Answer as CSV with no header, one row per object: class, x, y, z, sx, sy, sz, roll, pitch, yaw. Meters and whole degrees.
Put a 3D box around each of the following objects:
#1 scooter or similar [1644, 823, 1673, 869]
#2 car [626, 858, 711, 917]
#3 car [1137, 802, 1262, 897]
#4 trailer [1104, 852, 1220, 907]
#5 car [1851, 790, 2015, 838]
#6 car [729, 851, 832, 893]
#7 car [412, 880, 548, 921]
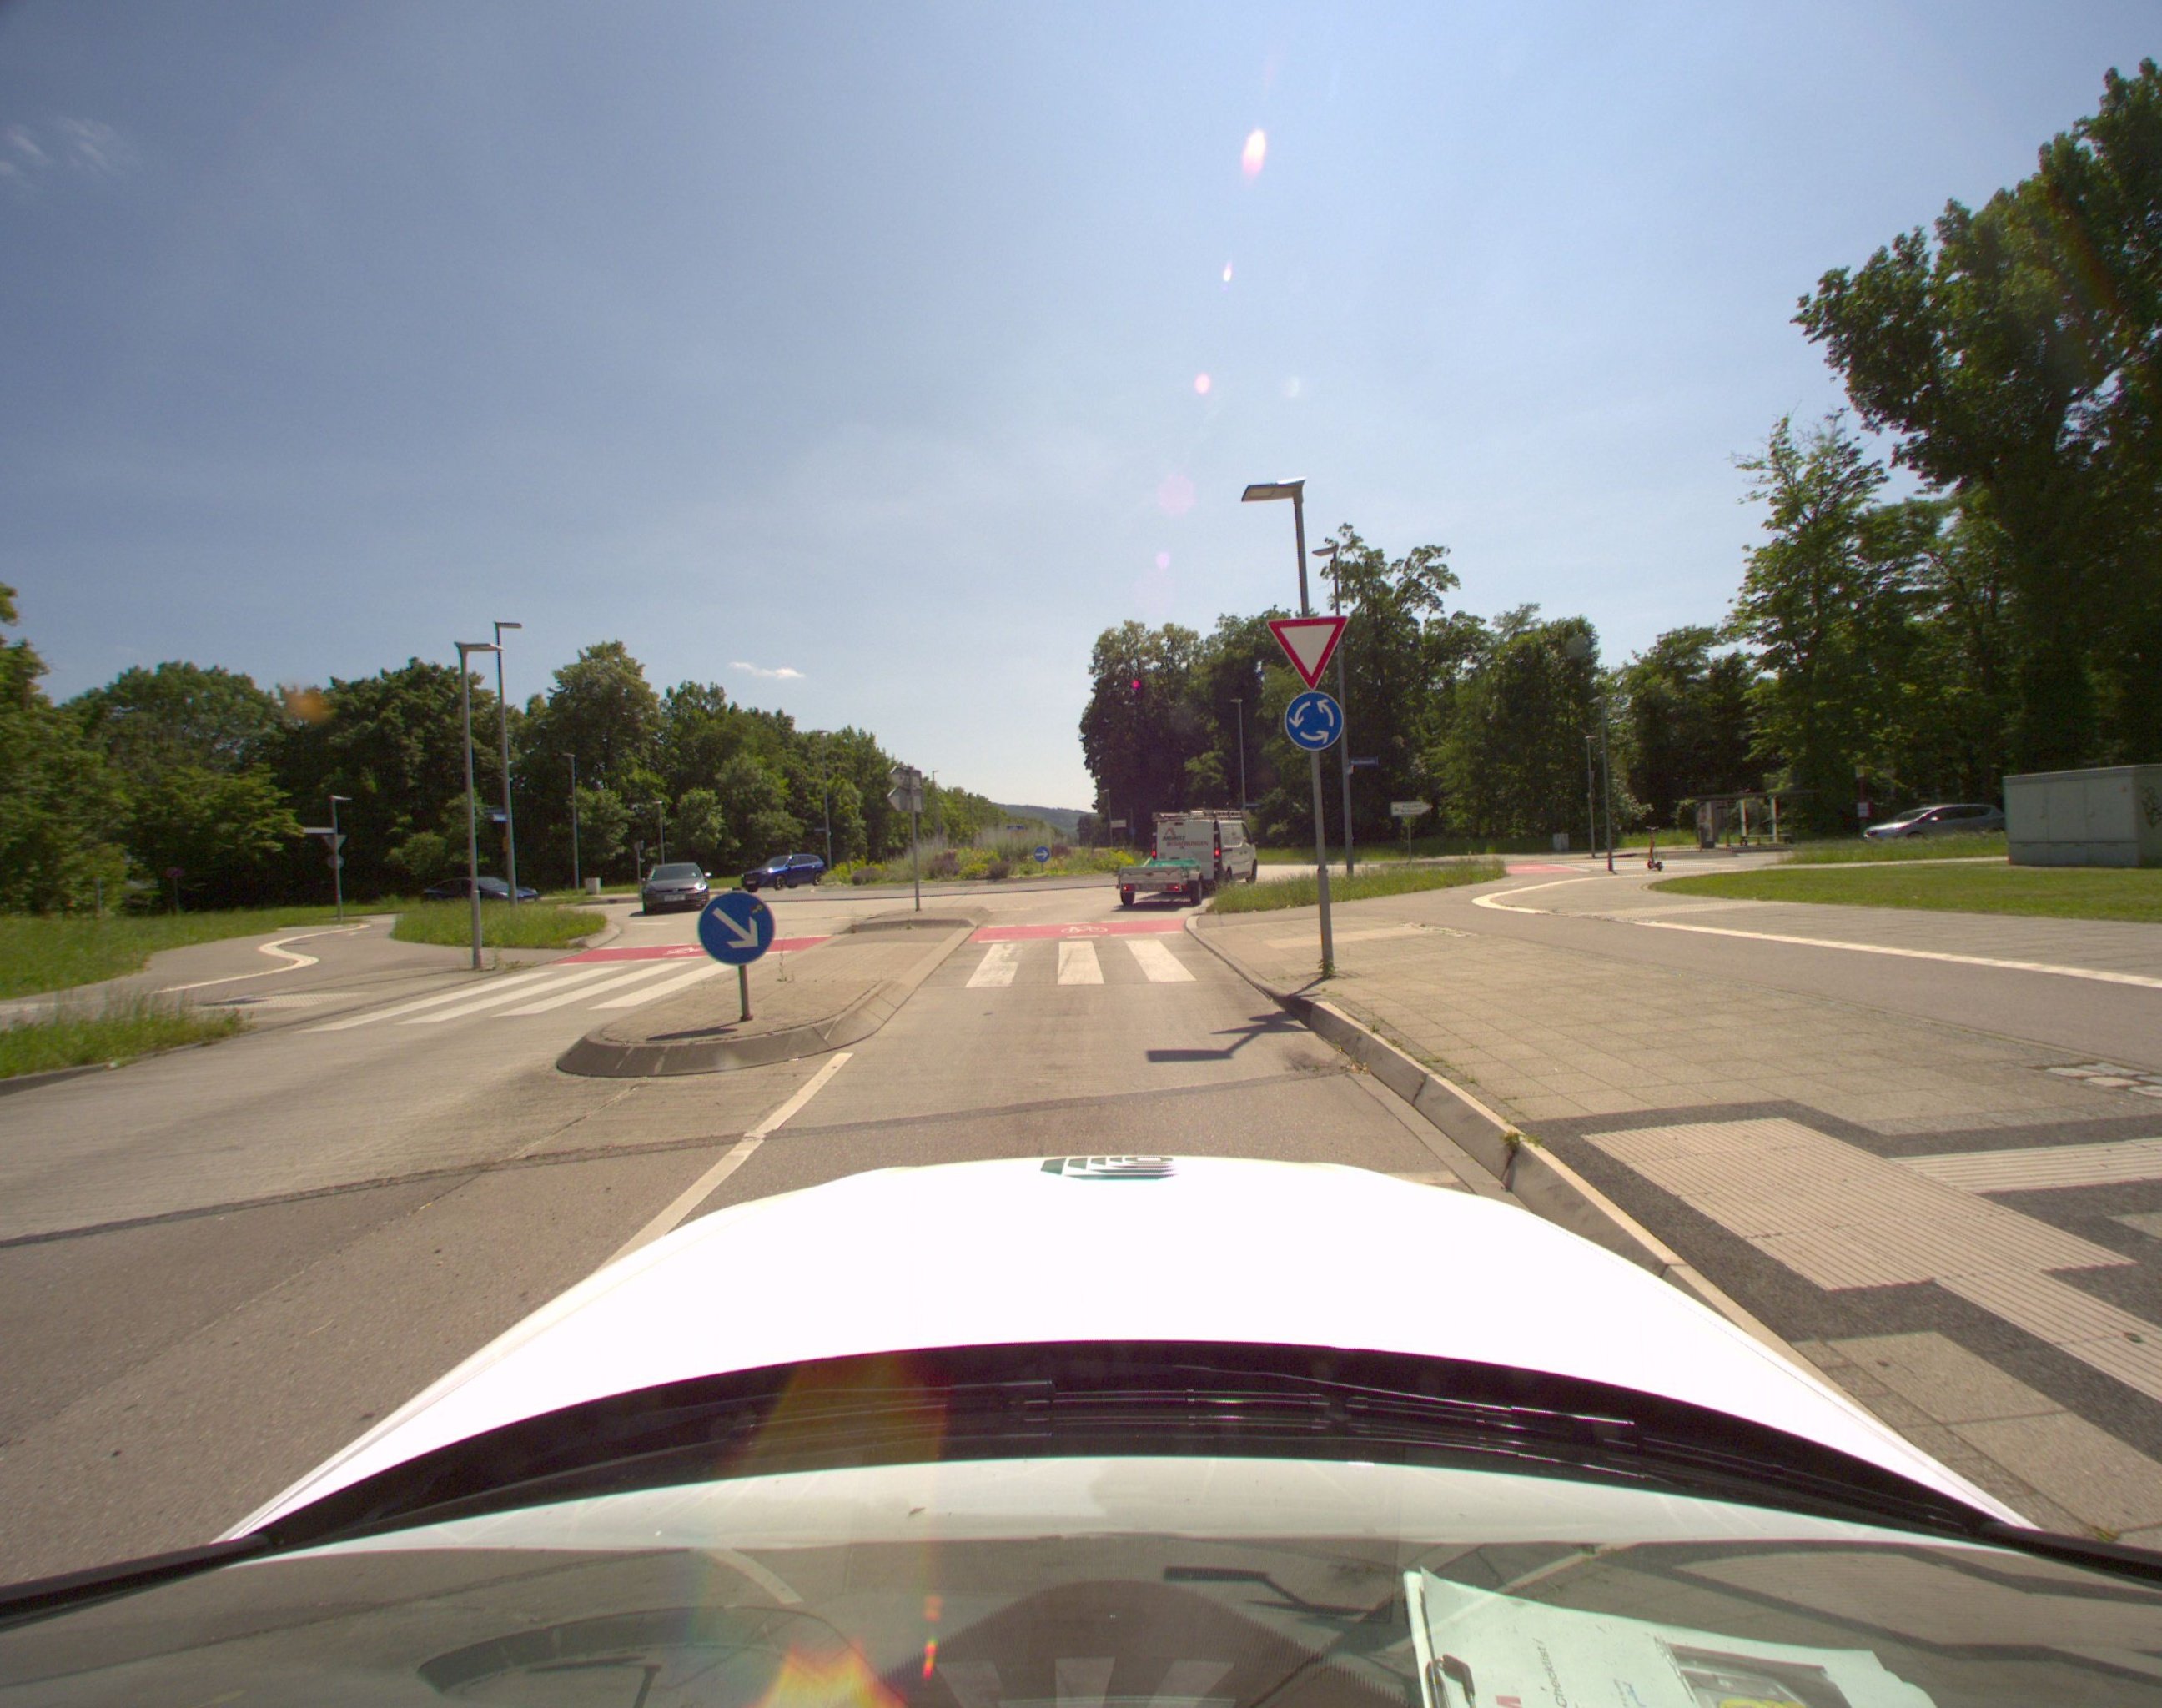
scooter or similar,15.955,-0.227,22.517,0.442,1.201,1.407,-2,0,28
car,-12.361,0.942,24.615,2.004,1.478,4.253,-5,1,-25
car,3.477,-0.127,22.837,2.147,2.316,5.009,-2,0,24
trailer,1.986,0.561,19.063,2.105,1.097,3.369,-2,0,15
car,32.759,-1.495,31.432,4.089,1.606,1.795,-2,0,9
car,-14.087,0.795,38.459,1.976,1.595,4.347,-3,2,23
car,-25.242,1.925,34.250,4.518,1.494,1.965,-2,0,10
